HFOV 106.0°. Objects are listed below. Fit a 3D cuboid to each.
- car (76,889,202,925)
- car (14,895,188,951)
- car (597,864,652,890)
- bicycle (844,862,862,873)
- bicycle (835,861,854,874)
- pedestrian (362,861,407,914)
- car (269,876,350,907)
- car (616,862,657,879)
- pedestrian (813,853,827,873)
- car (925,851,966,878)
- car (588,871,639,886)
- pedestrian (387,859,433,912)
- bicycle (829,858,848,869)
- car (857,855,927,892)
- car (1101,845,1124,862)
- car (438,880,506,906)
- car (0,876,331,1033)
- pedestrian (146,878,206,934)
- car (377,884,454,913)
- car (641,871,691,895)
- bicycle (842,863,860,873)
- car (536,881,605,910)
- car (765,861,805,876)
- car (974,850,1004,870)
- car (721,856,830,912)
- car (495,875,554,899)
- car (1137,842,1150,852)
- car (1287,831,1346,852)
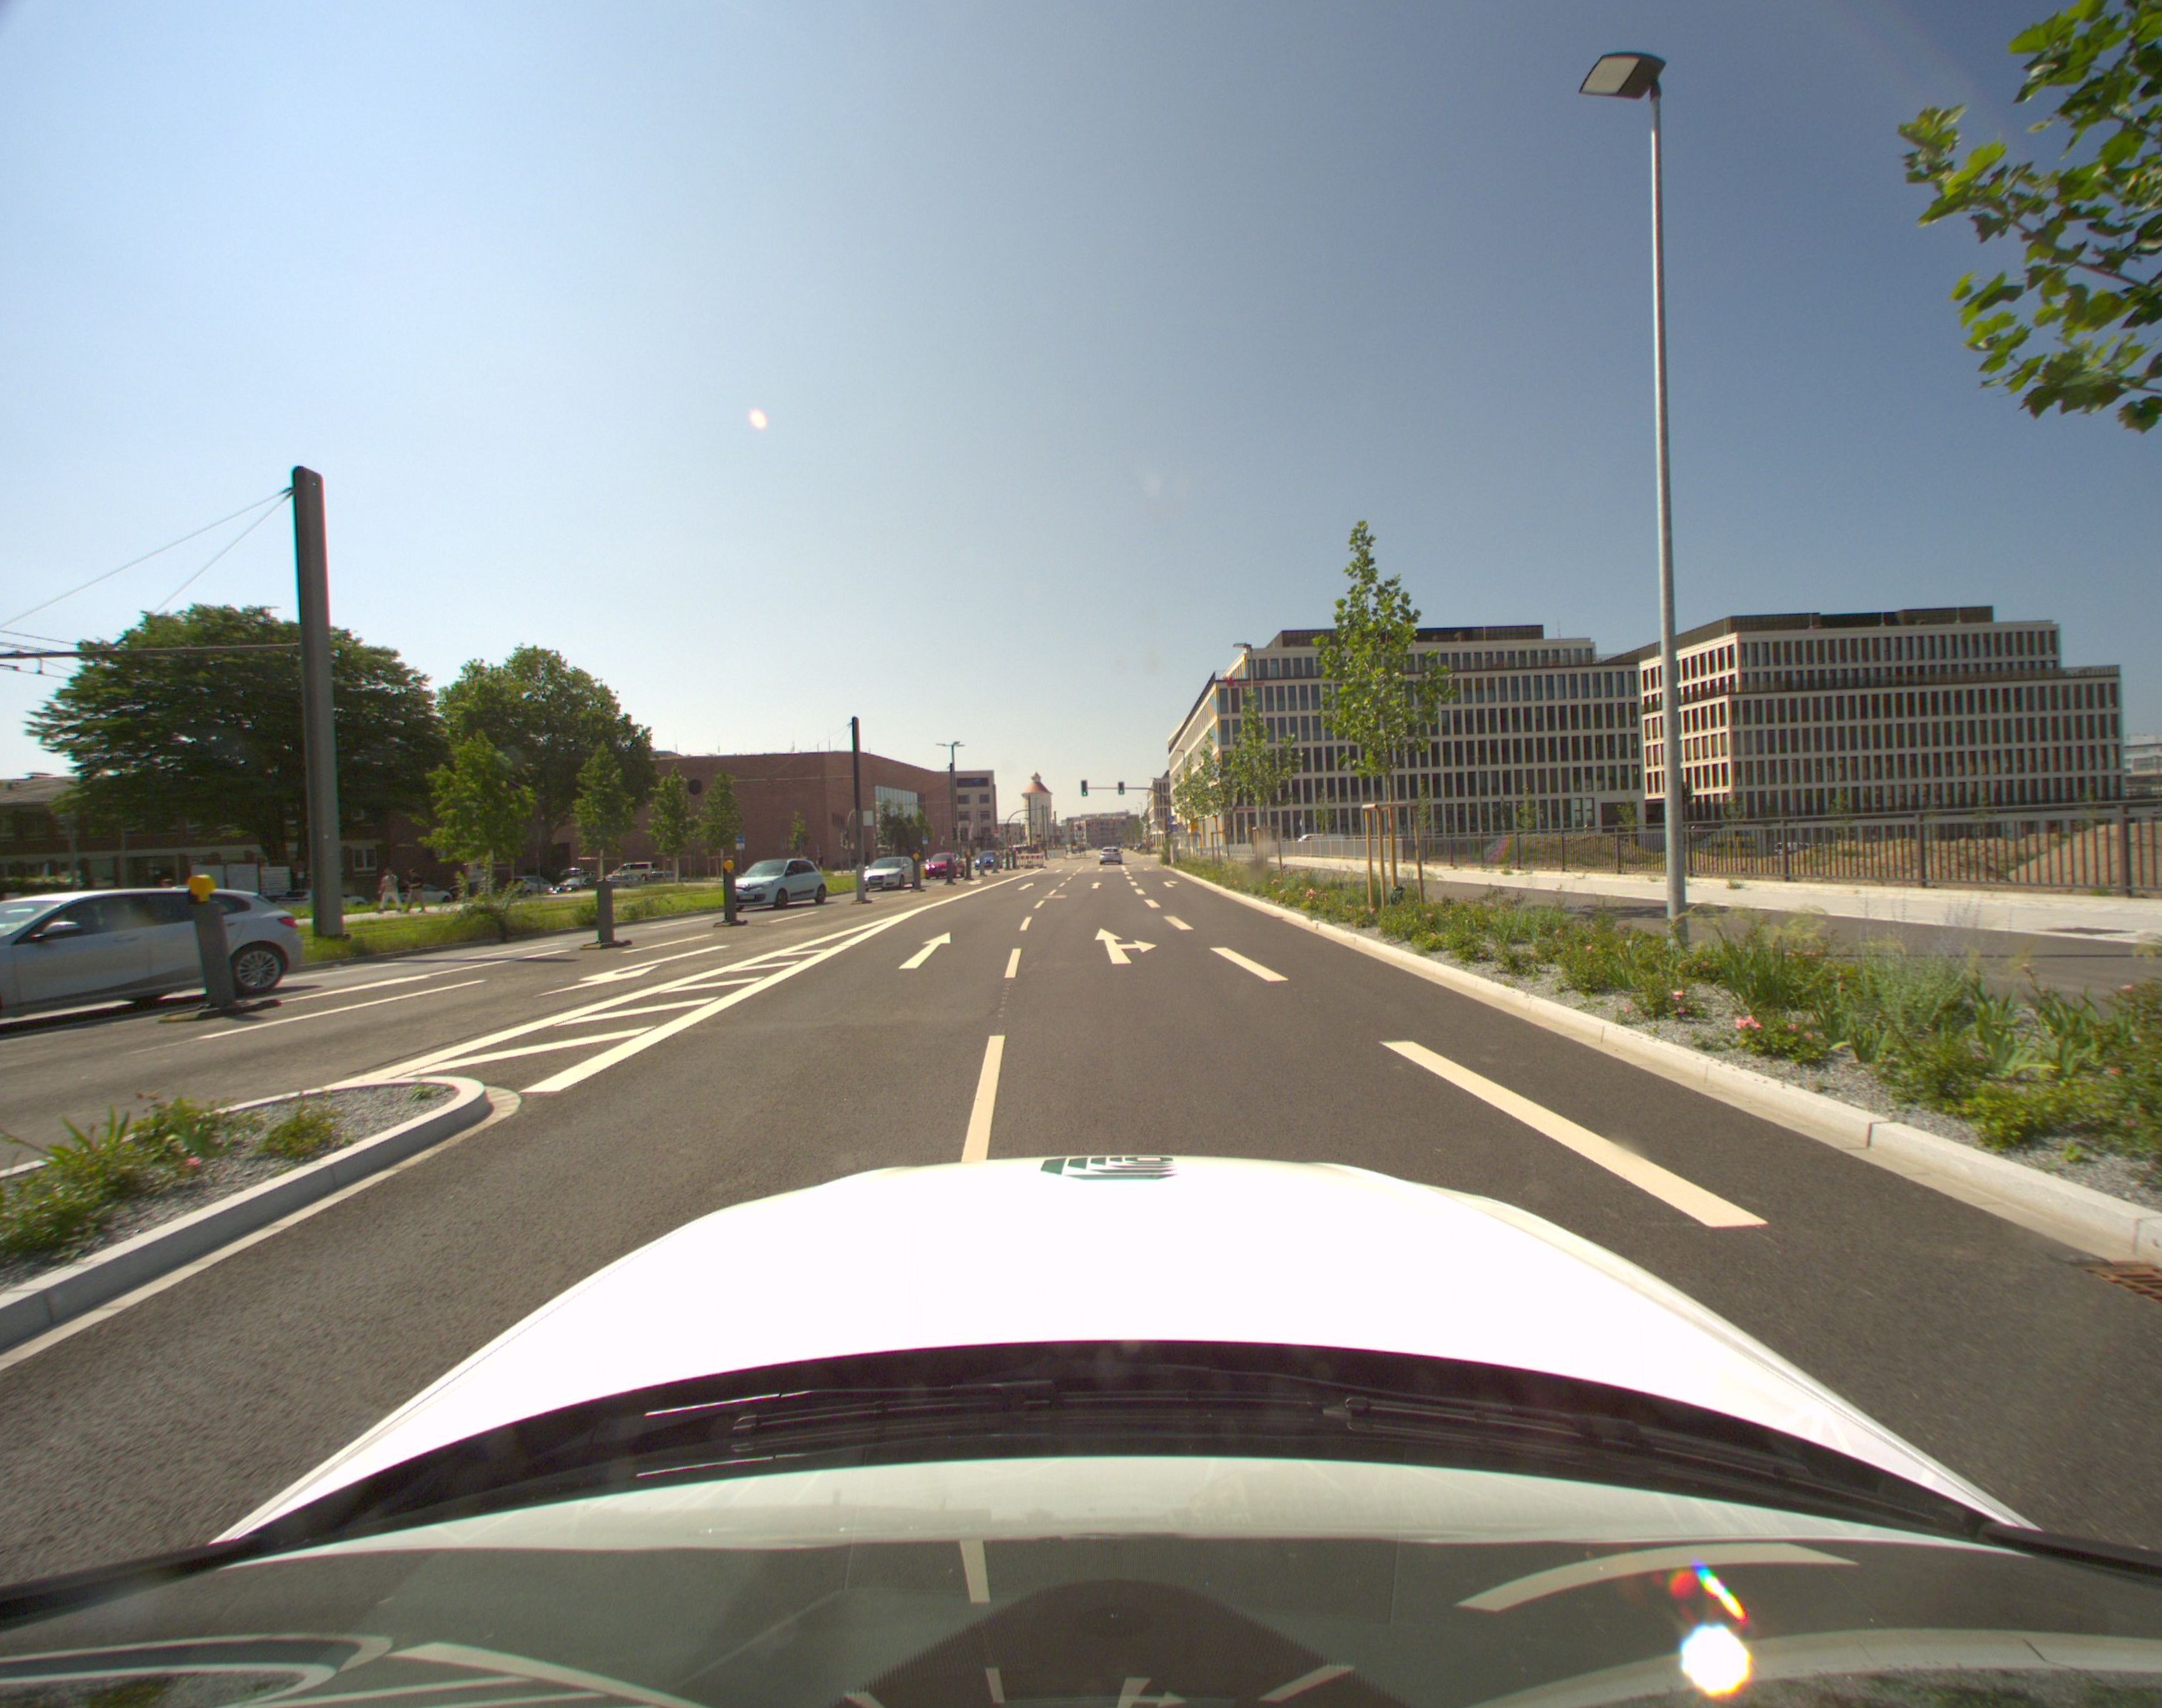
[{"bbox_3d":[-45.991,2.555,39.828,3.746,1.457,1.535,-2,1,-15],"label":"car"},{"bbox_3d":[-34.332,2.375,28.689,1.763,1.590,3.634,-1,1,-3],"label":"car"},{"bbox_3d":[-34.011,1.684,60.795,1.691,1.761,3.942,-2,0,3],"label":"car"},{"bbox_3d":[-28.345,1.653,101.182,2.050,1.212,0.538,-2,1,-9],"label":"bicycle"},{"bbox_3d":[-28.696,1.605,98.932,2.050,1.453,0.538,-2,1,-9],"label":"bicycle"},{"bbox_3d":[-27.372,1.292,32.026,0.835,2.013,0.985,-1,0,5],"label":"pedestrian"},{"bbox_3d":[-42.374,2.011,44.844,1.543,1.457,4.240,-2,0,-19],"label":"car"},{"bbox_3d":[-48.841,1.778,89.540,3.529,1.689,1.695,-1,1,2],"label":"car"},{"bbox_3d":[-24.666,0.863,76.901,0.808,1.846,1.108,-2,0,3],"label":"pedestrian"},{"bbox_3d":[-7.891,0.566,47.785,1.574,1.416,4.001,-3,0,2],"label":"car"},{"bbox_3d":[-46.756,2.439,81.450,3.965,1.403,2.004,-2,0,7],"label":"car"},{"bbox_3d":[-26.324,1.235,31.962,0.978,2.013,0.911,-1,0,4],"label":"pedestrian"},{"bbox_3d":[-28.100,1.075,94.455,2.050,1.212,0.538,-2,0,-9],"label":"bicycle"},{"bbox_3d":[-8.271,0.799,36.012,1.572,1.416,4.304,-3,0,7],"label":"car"},{"bbox_3d":[2.650,-0.046,68.422,1.764,1.395,3.535,-1,0,4],"label":"car"},{"bbox_3d":[-39.960,2.541,53.547,1.534,1.457,3.787,-2,1,-1],"label":"car"},{"bbox_3d":[-11.560,1.114,9.169,1.665,1.443,4.477,-4,0,7],"label":"car"},{"bbox_3d":[-27.211,1.553,24.504,0.810,1.576,0.828,-3,0,7],"label":"pedestrian"},{"bbox_3d":[-39.922,2.643,48.980,1.534,1.457,3.785,-2,0,-2],"label":"car"},{"bbox_3d":[-34.010,2.354,66.877,1.691,1.761,4.304,-2,0,2],"label":"car"},{"bbox_3d":[-29.581,1.747,104.786,2.050,1.212,0.538,-2,1,-9],"label":"bicycle"},{"bbox_3d":[-34.755,2.788,55.606,1.691,1.761,4.533,-2,0,2],"label":"car"},{"bbox_3d":[-30.409,1.456,83.588,3.466,1.369,1.574,-2,1,1],"label":"car"},{"bbox_3d":[-7.124,0.433,63.520,1.622,1.427,4.292,-3,1,2],"label":"car"},{"bbox_3d":[-9.673,0.897,26.070,1.571,1.530,3.630,-4,0,9],"label":"car"},{"bbox_3d":[-40.256,2.339,59.001,1.532,1.457,3.790,-2,1,2],"label":"car"},{"bbox_3d":[9.749,-1.118,126.799,1.727,1.474,3.989,-2,0,7],"label":"car"},{"bbox_3d":[25.485,-1.322,88.348,5.814,2.270,2.148,0,1,2],"label":"car"}]
